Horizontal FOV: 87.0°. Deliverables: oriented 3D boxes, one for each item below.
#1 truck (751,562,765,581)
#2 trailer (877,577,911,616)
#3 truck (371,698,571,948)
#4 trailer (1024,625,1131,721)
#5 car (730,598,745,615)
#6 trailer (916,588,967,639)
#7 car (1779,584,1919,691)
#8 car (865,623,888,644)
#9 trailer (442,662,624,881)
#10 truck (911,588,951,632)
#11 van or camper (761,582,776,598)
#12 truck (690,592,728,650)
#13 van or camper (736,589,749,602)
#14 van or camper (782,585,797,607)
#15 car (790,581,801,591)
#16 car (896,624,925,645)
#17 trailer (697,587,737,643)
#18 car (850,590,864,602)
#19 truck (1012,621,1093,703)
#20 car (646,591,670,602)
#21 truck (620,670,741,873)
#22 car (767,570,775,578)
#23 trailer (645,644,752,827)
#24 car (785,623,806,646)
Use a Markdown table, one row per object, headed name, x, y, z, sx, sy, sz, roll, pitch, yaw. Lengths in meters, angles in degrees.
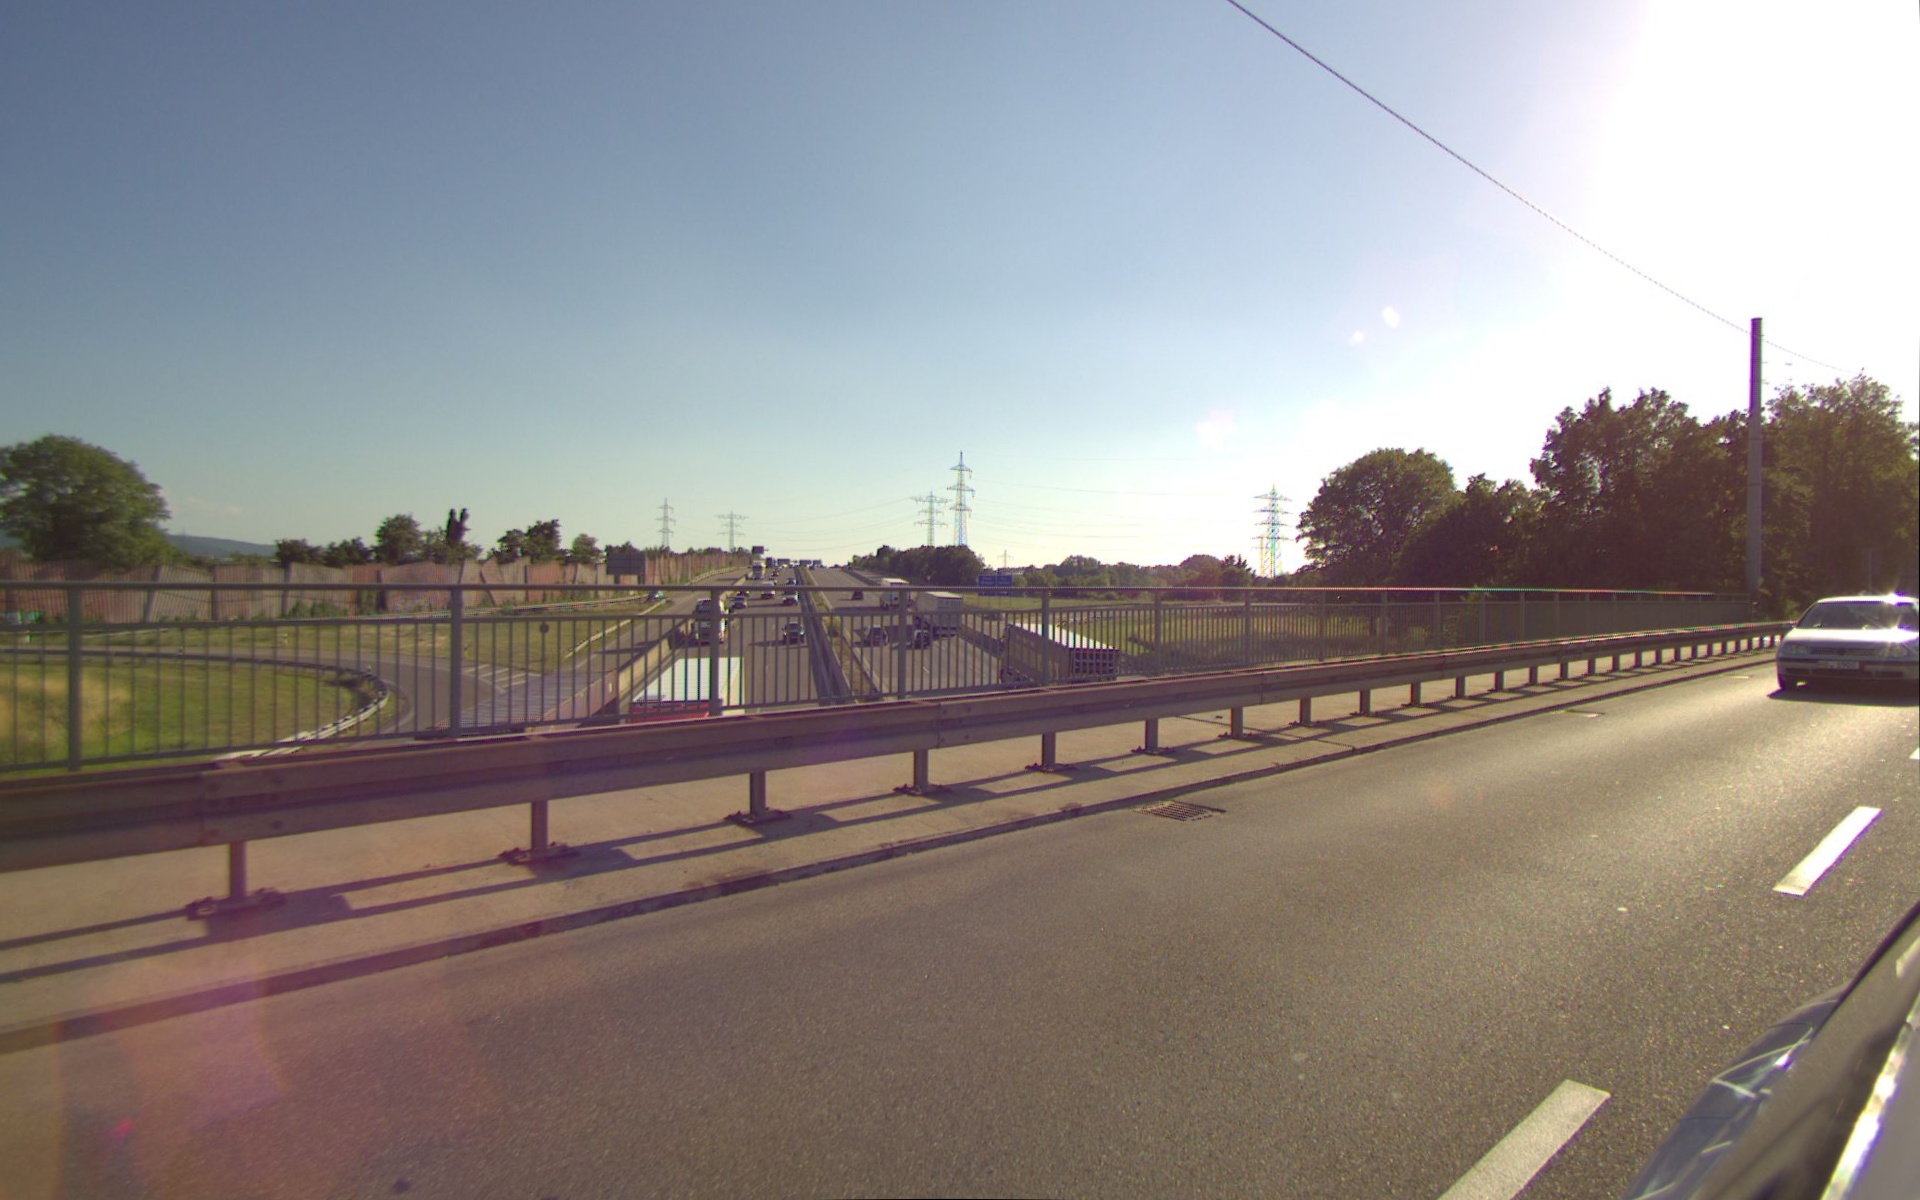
| name | x | y | z | sx | sy | sz | roll | pitch | yaw |
| --- | --- | --- | --- | --- | --- | --- | --- | --- | --- |
| truck | -47.318 | -6.762 | 237.618 | 2.730 | 4.127 | 7.545 | -1 | 4 | -8 |
| trailer | -8.788 | -0.536 | 133.452 | 2.993 | 4.514 | 13.143 | -2 | 3 | -10 |
| truck | -11.527 | 5.004 | 24.561 | 2.506 | 4.220 | 6.498 | -2 | 3 | -10 |
| trailer | 6.013 | 3.634 | 53.725 | 2.993 | 3.902 | 9.393 | -2 | 3 | -10 |
| car | -29.536 | 0.882 | 134.409 | 1.741 | 1.885 | 3.831 | -1 | 4 | -9 |
| trailer | -1.974 | 1.193 | 101.773 | 3.239 | 4.326 | 11.577 | 3 | 2 | -10 |
| car | 14.243 | 0.489 | 15.674 | 4.062 | 1.435 | 1.692 | -1 | 1 | -40 |
| car | -7.336 | 2.918 | 88.592 | 1.849 | 1.534 | 4.073 | -1 | 2 | -7 |
| trailer | -12.676 | 4.687 | 31.313 | 2.506 | 4.206 | 11.512 | -2 | 3 | -10 |
| truck | -3.123 | 1.009 | 108.463 | 3.210 | 4.331 | 6.392 | 3 | 2 | -10 |
| van or camper | -29.540 | -1.542 | 155.846 | 2.058 | 2.357 | 4.977 | -1 | 2 | -8 |
| truck | -22.289 | 1.722 | 90.073 | 2.678 | 4.668 | 7.246 | -1 | 2 | -9 |
| van or camper | -34.774 | -0.718 | 161.609 | 1.716 | 1.790 | 3.826 | -1 | 3 | -8 |
| van or camper | -23.586 | -0.578 | 140.282 | 1.954 | 2.856 | 4.827 | -1 | 3 | -8 |
| car | -29.956 | -2.582 | 184.677 | 1.866 | 1.741 | 3.990 | -1 | 3 | -9 |
| car | -4.326 | 2.977 | 87.753 | 1.848 | 1.534 | 3.969 | -1 | 2 | -13 |
| trailer | -24.087 | 1.250 | 101.075 | 2.676 | 4.643 | 17.013 | -1 | 3 | -9 |
| car | -15.848 | -0.669 | 156.191 | 1.666 | 1.533 | 3.971 | -1 | 5 | -13 |
| truck | 5.212 | 3.417 | 58.411 | 2.993 | 3.929 | 6.620 | -2 | 3 | -10 |
| car | -46.592 | -0.589 | 156.192 | 1.735 | 1.617 | 3.674 | -1 | 1 | 15 |
| truck | -7.675 | 4.500 | 28.536 | 2.506 | 4.220 | 6.498 | -2 | 3 | -10 |
| car | -47.706 | -6.467 | 255.582 | 1.741 | 1.885 | 3.830 | -1 | 3 | -9 |
| trailer | -8.875 | 4.204 | 35.594 | 2.506 | 4.206 | 12.008 | -2 | 3 | -10 |
| car | -14.504 | 3.022 | 89.060 | 1.724 | 1.616 | 4.317 | -1 | 3 | -9 |
